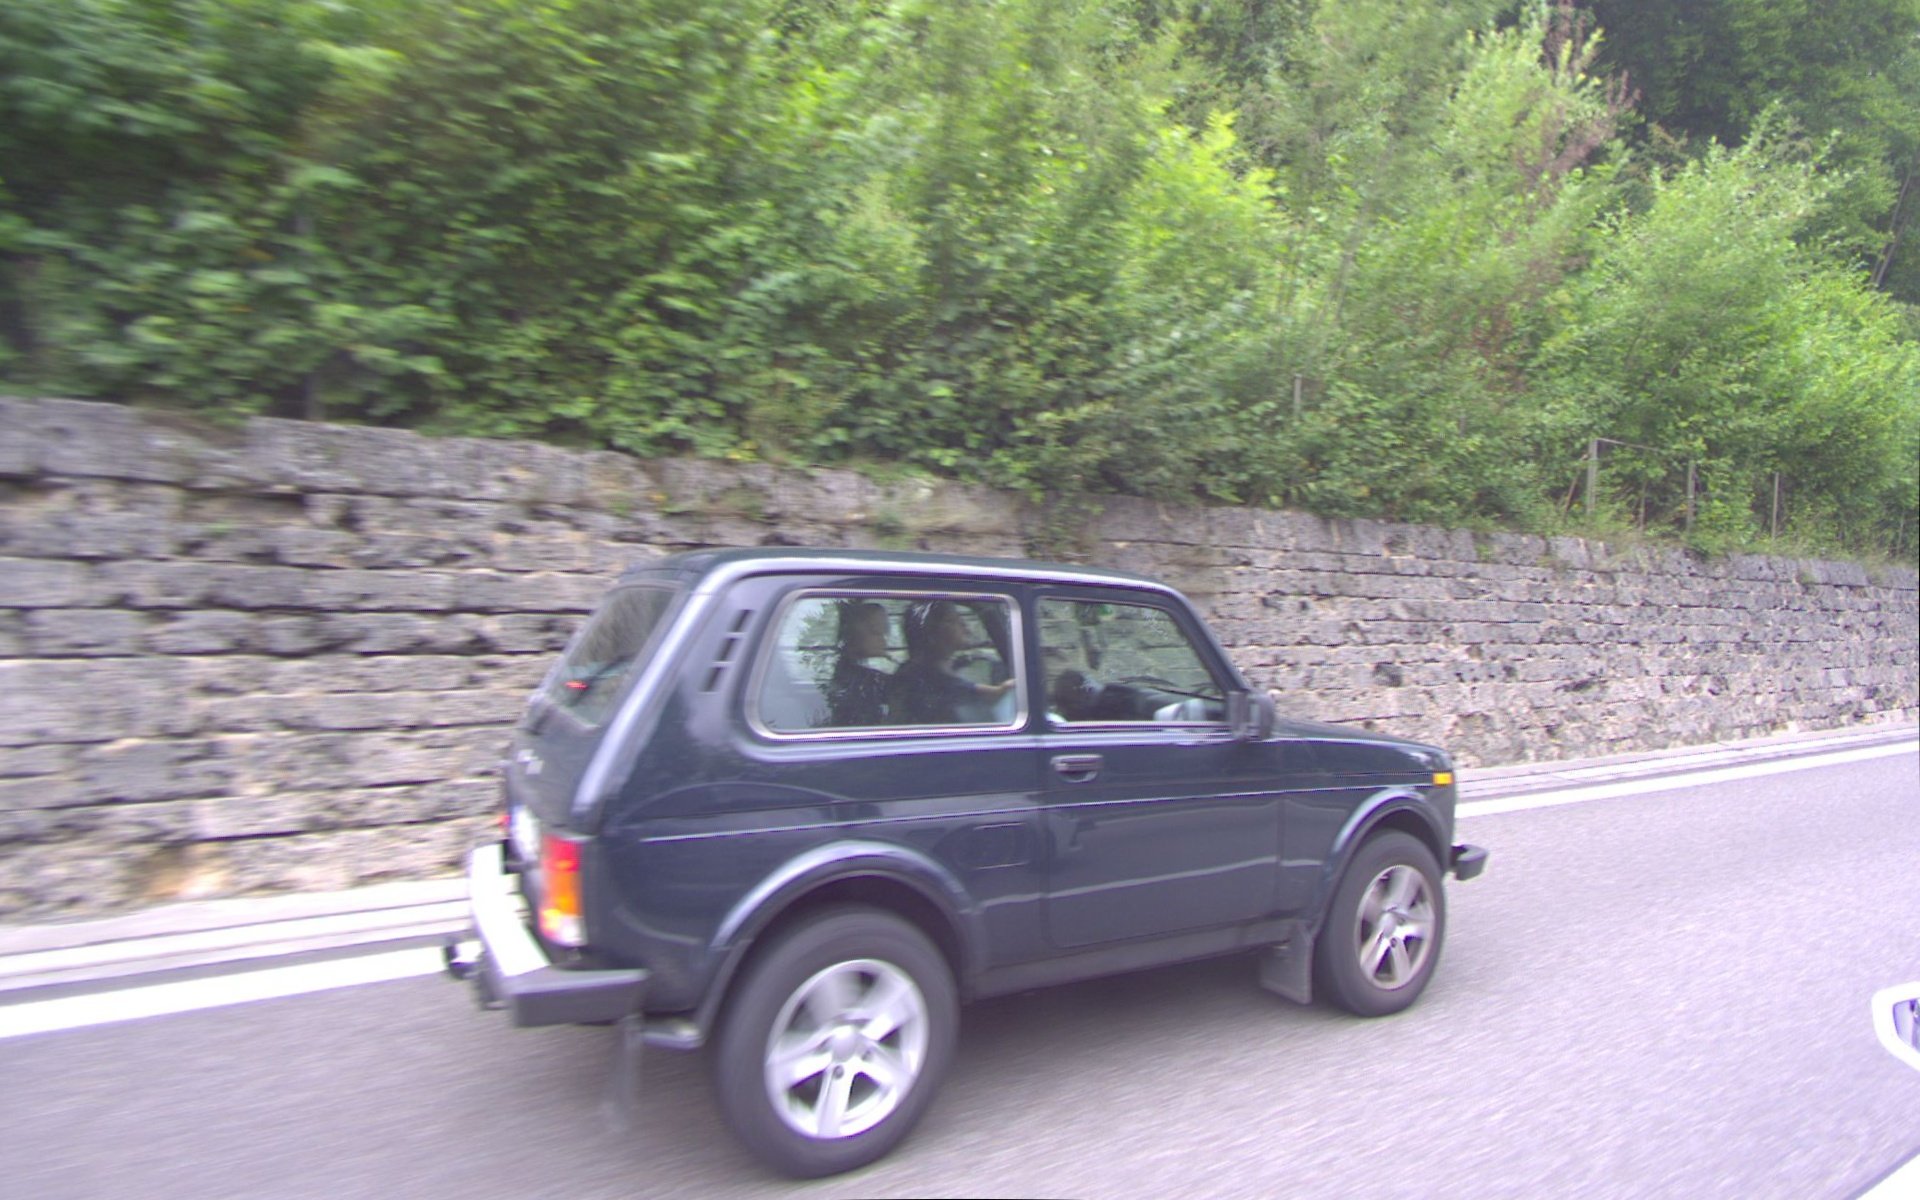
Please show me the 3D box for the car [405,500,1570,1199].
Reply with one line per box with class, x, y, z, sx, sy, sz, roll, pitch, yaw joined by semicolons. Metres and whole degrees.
car;0.259;0.671;3.728;4.019;1.660;1.661;1;0;-29
